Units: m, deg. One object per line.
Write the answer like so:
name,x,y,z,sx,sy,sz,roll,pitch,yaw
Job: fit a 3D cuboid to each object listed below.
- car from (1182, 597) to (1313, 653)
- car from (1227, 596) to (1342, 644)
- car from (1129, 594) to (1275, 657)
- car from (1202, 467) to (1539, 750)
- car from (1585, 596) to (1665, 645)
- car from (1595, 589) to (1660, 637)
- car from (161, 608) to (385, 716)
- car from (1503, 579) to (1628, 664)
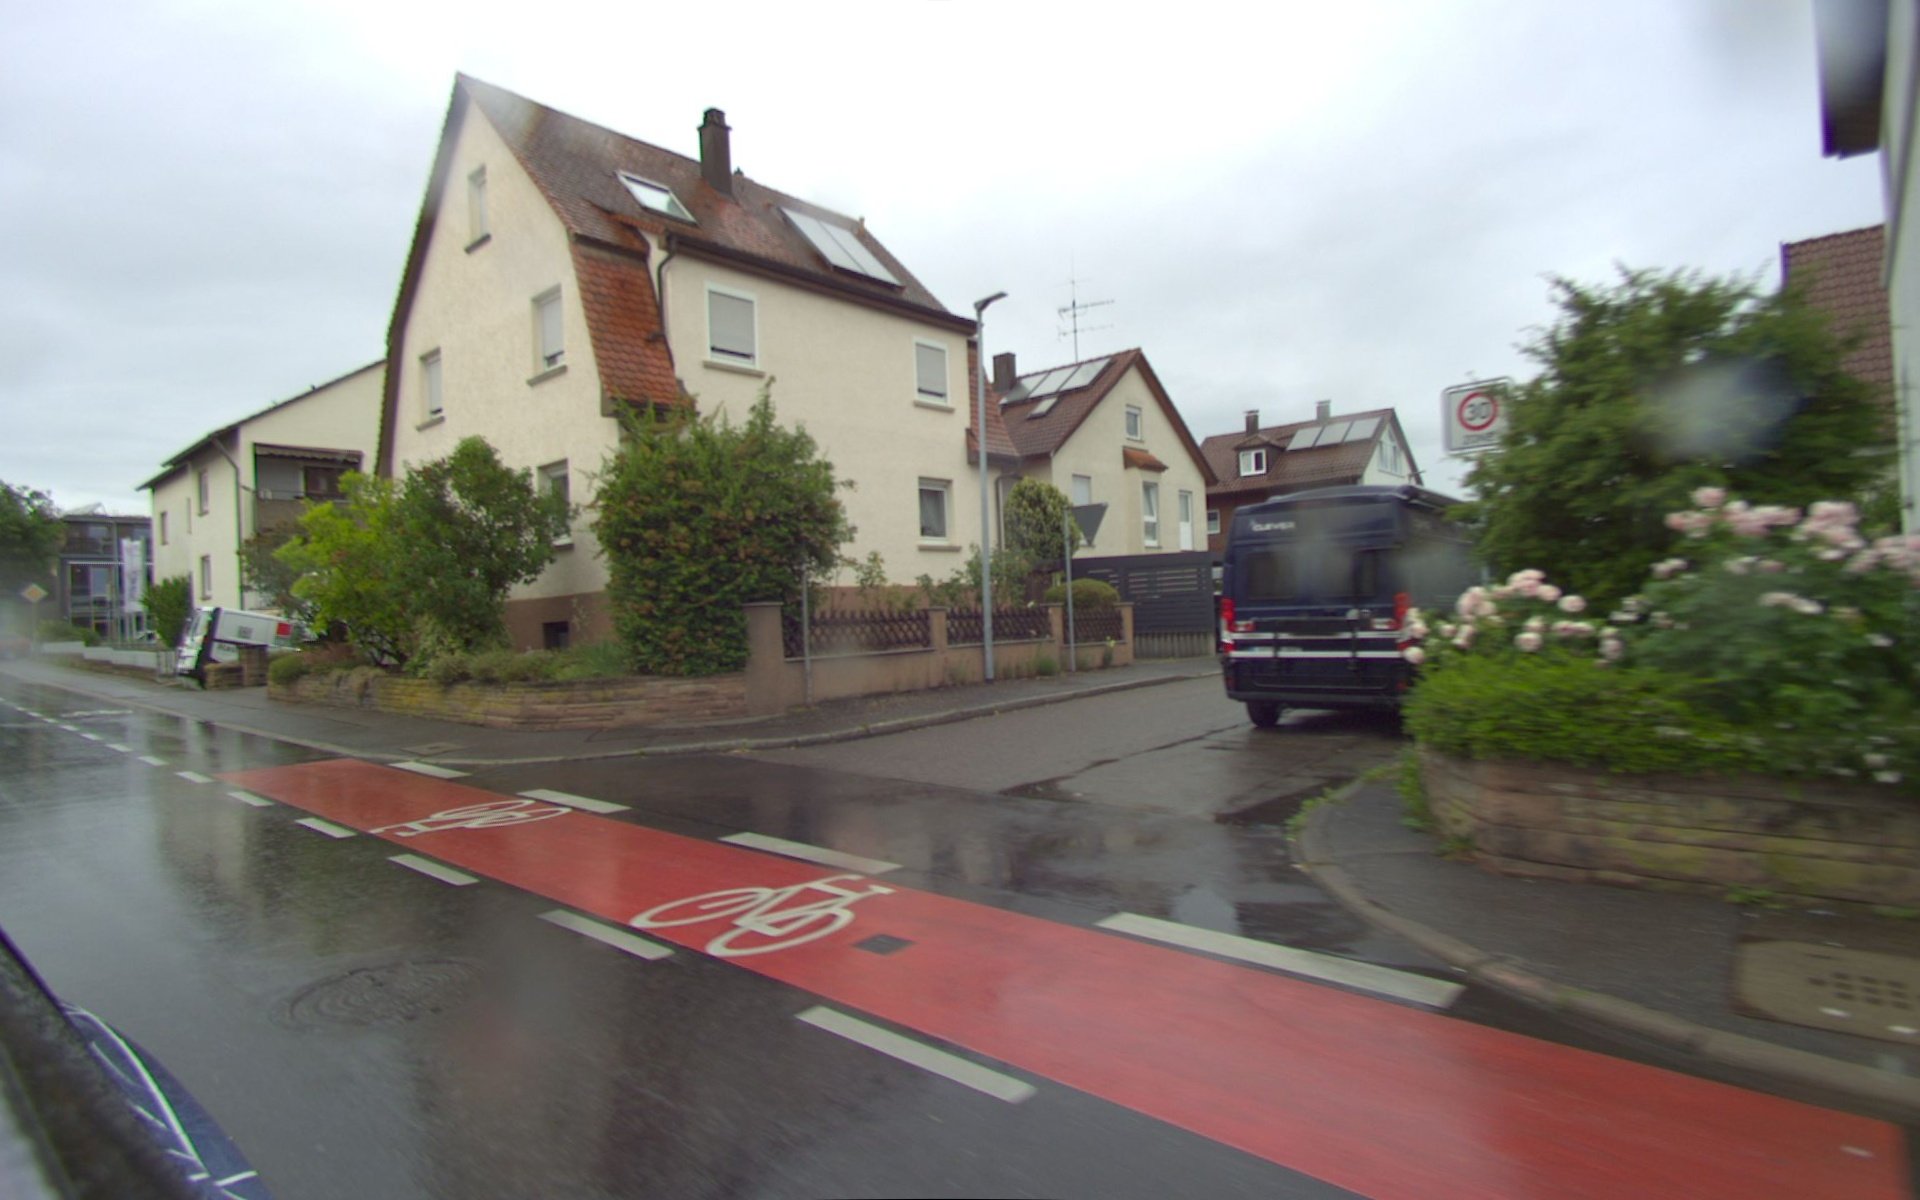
car,8.398,0.716,29.655,3.338,1.530,1.575,-1,-1,41
car,10.887,0.674,34.043,3.338,1.530,1.575,-1,-1,41
car,6.298,0.655,26.485,3.338,1.530,1.575,-1,-1,41
car,5.178,0.063,12.199,2.288,2.625,5.374,-2,0,38
car,21.113,0.623,32.080,1.673,1.428,3.532,-1,-1,40
car,24.209,0.452,36.677,1.700,1.647,3.534,-1,-1,37
car,-16.918,1.600,25.095,1.871,1.989,3.950,-2,-13,38
car,13.171,0.435,21.938,1.770,1.674,3.532,-1,-1,40
